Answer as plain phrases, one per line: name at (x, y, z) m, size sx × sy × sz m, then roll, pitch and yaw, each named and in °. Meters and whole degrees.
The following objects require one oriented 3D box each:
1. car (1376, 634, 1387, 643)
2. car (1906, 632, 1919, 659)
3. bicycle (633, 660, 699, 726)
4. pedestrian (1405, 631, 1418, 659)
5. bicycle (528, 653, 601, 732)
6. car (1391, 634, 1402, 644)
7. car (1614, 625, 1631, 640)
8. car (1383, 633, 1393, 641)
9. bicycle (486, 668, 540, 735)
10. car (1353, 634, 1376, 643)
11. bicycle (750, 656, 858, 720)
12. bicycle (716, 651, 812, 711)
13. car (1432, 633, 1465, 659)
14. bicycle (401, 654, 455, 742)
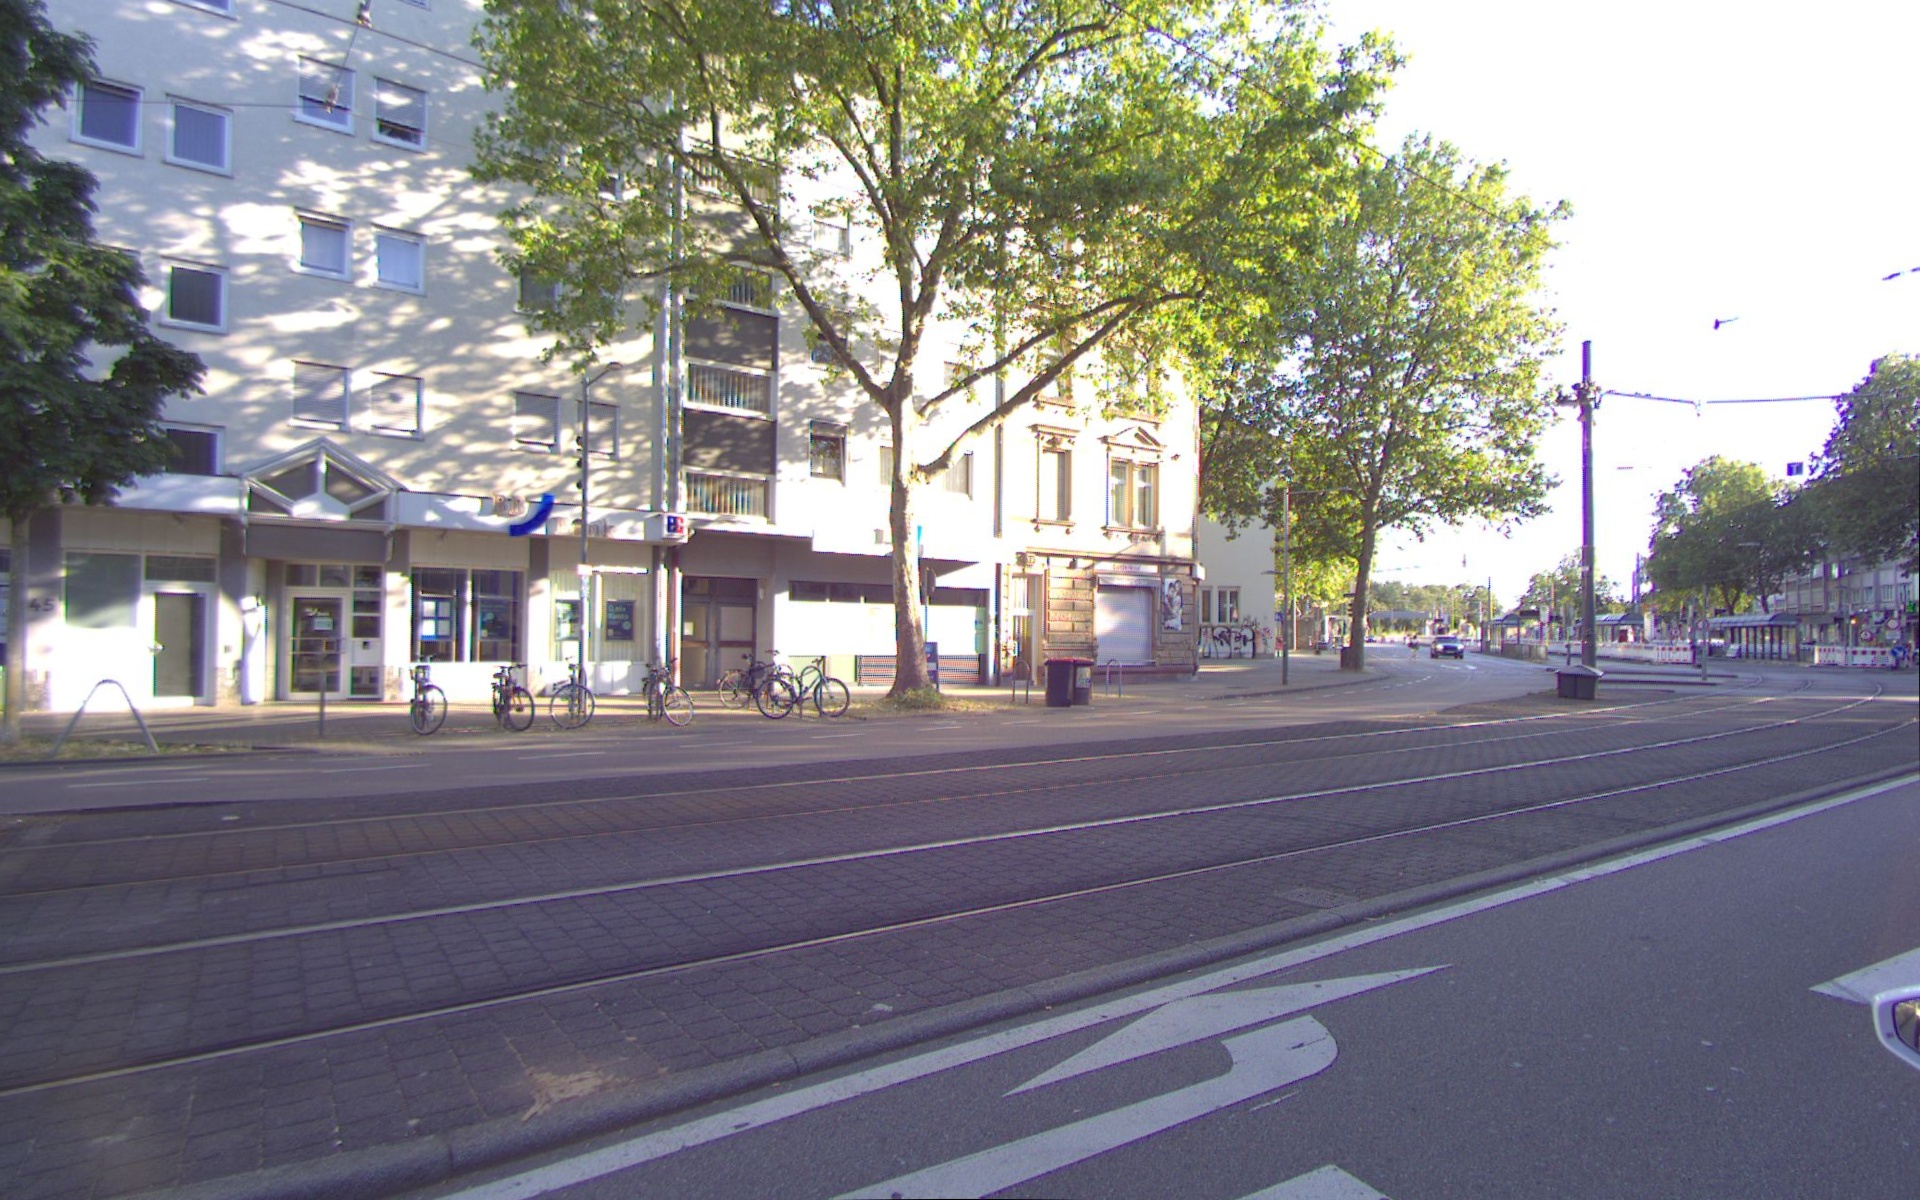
car at (79.471, 7.192, 189.316) m, size 1.814 × 1.706 × 3.716 m, roll 0°, pitch -2°, yaw 23°
car at (64.560, 3.062, 66.002) m, size 1.960 × 1.815 × 4.000 m, roll 2°, pitch -1°, yaw 20°
bicycle at (-5.048, 1.564, 17.203) m, size 0.584 × 1.002 × 1.729 m, roll 2°, pitch -1°, yaw -34°
pedestrian at (27.127, 2.722, 60.316) m, size 0.645 × 1.678 × 0.444 m, roll 0°, pitch -2°, yaw 18°
bicycle at (-6.346, 1.445, 16.076) m, size 0.724 × 1.128 × 1.729 m, roll 2°, pitch -1°, yaw -34°
car at (78.791, 7.028, 181.333) m, size 1.814 × 1.706 × 3.715 m, roll -2°, pitch -2°, yaw 23°
car at (89.242, 4.418, 135.335) m, size 1.593 × 2.040 × 3.110 m, roll 0°, pitch -2°, yaw 26°
car at (89.590, 7.738, 210.264) m, size 1.814 × 1.706 × 3.716 m, roll 0°, pitch -2°, yaw 23°
bicycle at (-6.929, 1.543, 15.534) m, size 0.467 × 0.900 × 1.729 m, roll 2°, pitch -1°, yaw -34°
car at (78.257, 7.371, 194.271) m, size 3.919 × 1.661 × 1.792 m, roll 0°, pitch -2°, yaw 13°
bicycle at (-2.795, 1.566, 18.090) m, size 1.800 × 1.091 × 0.649 m, roll 2°, pitch -2°, yaw -29°
bicycle at (-3.914, 1.597, 20.066) m, size 1.777 × 1.132 × 0.617 m, roll 2°, pitch -2°, yaw -29°
car at (32.862, 3.097, 67.633) m, size 1.962 × 1.661 × 3.997 m, roll 0°, pitch -2°, yaw 25°
bicycle at (-7.830, 1.396, 14.746) m, size 0.506 × 1.153 × 1.729 m, roll 2°, pitch -1°, yaw -34°
